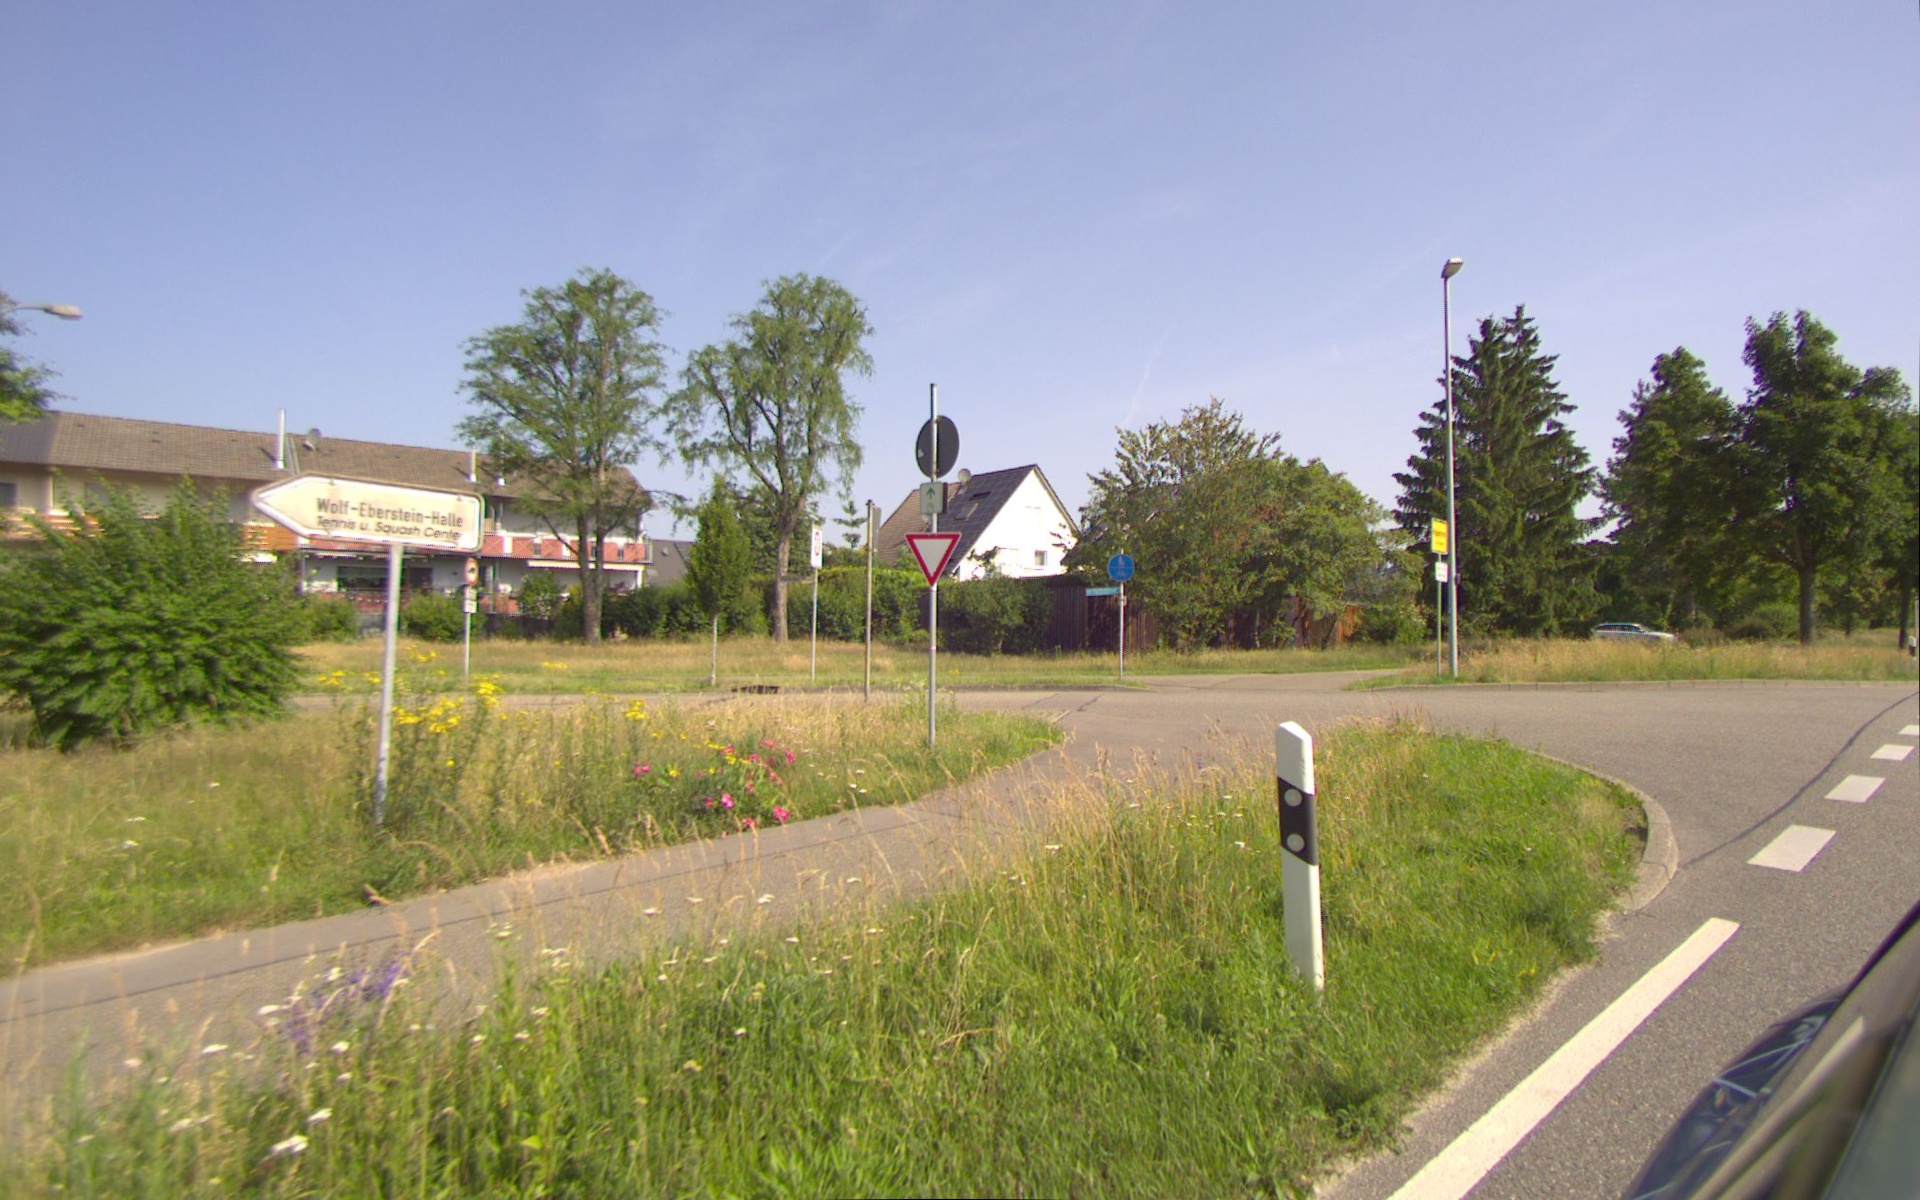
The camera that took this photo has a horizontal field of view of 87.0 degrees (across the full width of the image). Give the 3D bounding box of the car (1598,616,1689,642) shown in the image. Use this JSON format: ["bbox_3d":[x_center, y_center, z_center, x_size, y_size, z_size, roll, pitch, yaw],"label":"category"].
[{"bbox_3d":[38.936,1.613,57.693,1.784,1.452,3.992,1,-1,-42],"label":"car"}]
